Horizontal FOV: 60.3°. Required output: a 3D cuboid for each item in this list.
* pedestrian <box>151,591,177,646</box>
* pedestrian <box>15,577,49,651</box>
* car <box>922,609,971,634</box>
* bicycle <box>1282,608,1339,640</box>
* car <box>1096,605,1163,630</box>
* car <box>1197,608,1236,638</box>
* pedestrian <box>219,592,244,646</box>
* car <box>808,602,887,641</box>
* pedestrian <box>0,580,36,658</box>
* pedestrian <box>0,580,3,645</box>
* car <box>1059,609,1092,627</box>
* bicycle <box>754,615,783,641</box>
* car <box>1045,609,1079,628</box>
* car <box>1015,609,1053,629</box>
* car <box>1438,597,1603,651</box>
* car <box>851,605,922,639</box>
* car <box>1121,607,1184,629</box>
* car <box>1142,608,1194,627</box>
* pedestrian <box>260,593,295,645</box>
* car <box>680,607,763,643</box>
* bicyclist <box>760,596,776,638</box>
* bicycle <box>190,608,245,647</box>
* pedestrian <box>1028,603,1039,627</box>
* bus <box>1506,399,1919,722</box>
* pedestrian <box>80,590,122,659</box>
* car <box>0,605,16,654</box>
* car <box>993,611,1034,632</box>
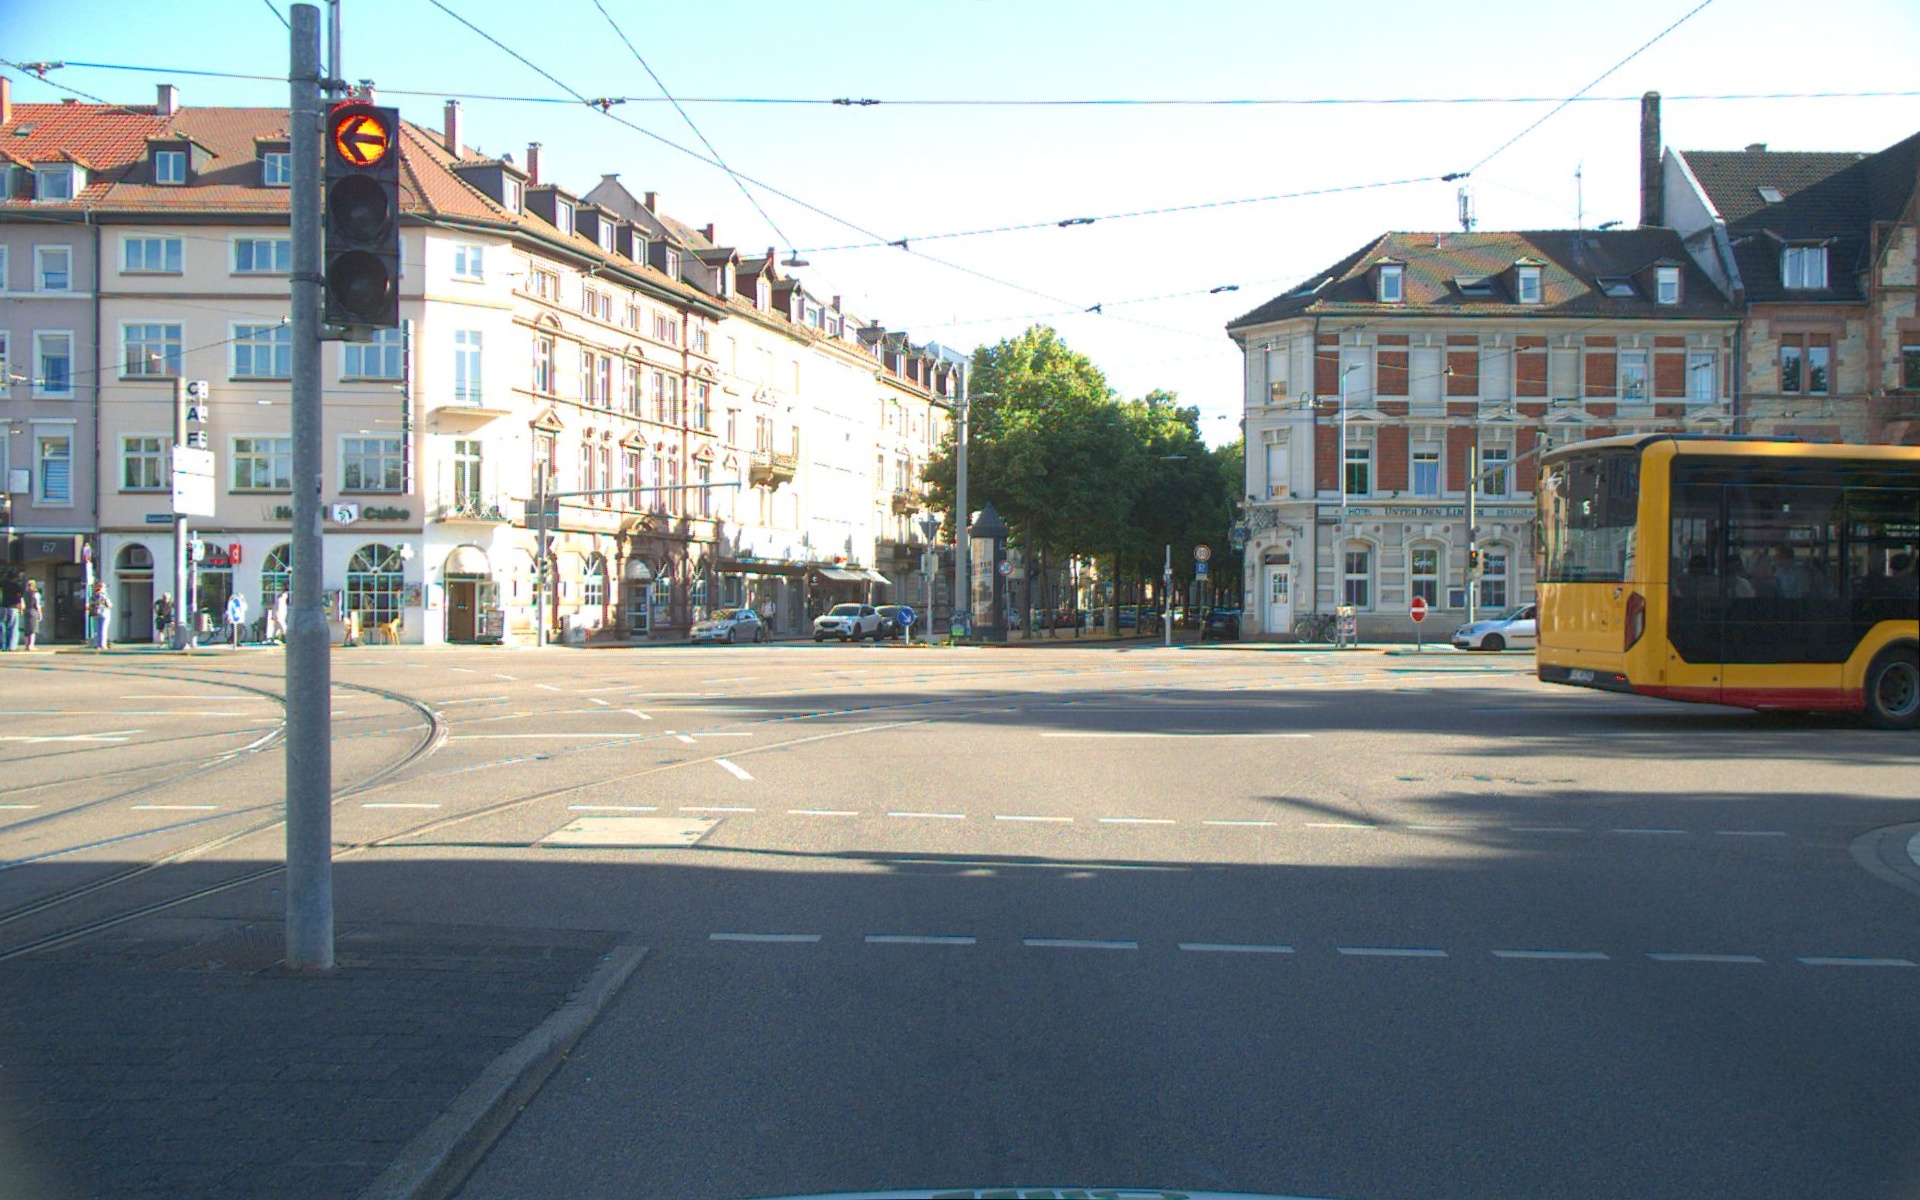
[{"bbox_3d":[-24.952,0.584,51.839,0.731,1.711,0.623,0,0,-26],"label":"pedestrian"},{"bbox_3d":[-23.012,0.338,41.025,0.549,1.817,0.559,0,0,-6],"label":"pedestrian"},{"bbox_3d":[-0.819,1.319,102.062,1.951,1.429,4.172,0,0,15],"label":"car"},{"bbox_3d":[12.176,0.831,57.519,1.911,1.072,0.716,0,0,9],"label":"bicycle"},{"bbox_3d":[10.249,1.040,99.829,3.902,1.480,1.683,0,0,10],"label":"car"},{"bbox_3d":[12.853,1.145,82.711,1.717,1.445,4.003,0,0,12],"label":"car"},{"bbox_3d":[-23.581,0.613,53.544,0.731,1.711,0.623,0,0,-26],"label":"pedestrian"},{"bbox_3d":[-4.531,0.849,67.392,1.951,1.542,4.172,0,0,15],"label":"car"},{"bbox_3d":[-22.914,0.447,39.999,0.751,1.861,0.722,0,0,-1],"label":"pedestrian"},{"bbox_3d":[-24.296,0.316,41.130,0.685,1.609,0.559,0,0,-6],"label":"pedestrian"},{"bbox_3d":[9.570,1.481,136.731,1.951,1.429,4.172,0,0,15],"label":"car"},{"bbox_3d":[-7.556,1.100,65.172,0.641,1.018,1.666,1,0,11],"label":"bicycle"},{"bbox_3d":[8.141,1.434,131.513,1.951,1.429,4.172,0,0,15],"label":"car"},{"bbox_3d":[5.474,1.379,122.646,1.951,1.429,4.172,0,0,15],"label":"car"},{"bbox_3d":[15.501,0.644,45.884,3.946,1.448,1.885,0,0,-1],"label":"car"},{"bbox_3d":[-3.226,0.954,73.584,1.951,1.429,4.172,0,0,15],"label":"car"},{"bbox_3d":[12.316,1.143,105.568,3.902,1.311,1.696,0,0,10],"label":"car"},{"bbox_3d":[14.044,1.152,111.667,3.360,1.261,1.578,0,0,10],"label":"car"},{"bbox_3d":[-22.528,0.632,54.576,0.891,1.711,0.742,0,0,-7],"label":"pedestrian"},{"bbox_3d":[-9.599,0.986,66.886,1.951,1.385,3.821,0,0,15],"label":"car"},{"bbox_3d":[-7.547,0.655,65.073,0.479,1.629,0.667,0,0,9],"label":"bicyclist"},{"bbox_3d":[-25.235,0.925,56.231,1.684,1.299,0.385,0,0,-18],"label":"bicycle"},{"bbox_3d":[4.378,0.913,98.242,0.535,1.409,0.626,0,0,15],"label":"pedestrian"},{"bbox_3d":[11.310,-0.394,20.170,8.454,3.517,2.782,1,1,-9],"label":"bus"},{"bbox_3d":[-21.440,0.608,41.303,0.725,1.711,0.628,0,0,-1],"label":"pedestrian"},{"bbox_3d":[-32.133,0.901,52.160,3.651,1.517,1.818,1,0,2],"label":"car"},{"bbox_3d":[3.815,1.485,116.900,1.951,1.429,4.172,0,0,15],"label":"car"}]
